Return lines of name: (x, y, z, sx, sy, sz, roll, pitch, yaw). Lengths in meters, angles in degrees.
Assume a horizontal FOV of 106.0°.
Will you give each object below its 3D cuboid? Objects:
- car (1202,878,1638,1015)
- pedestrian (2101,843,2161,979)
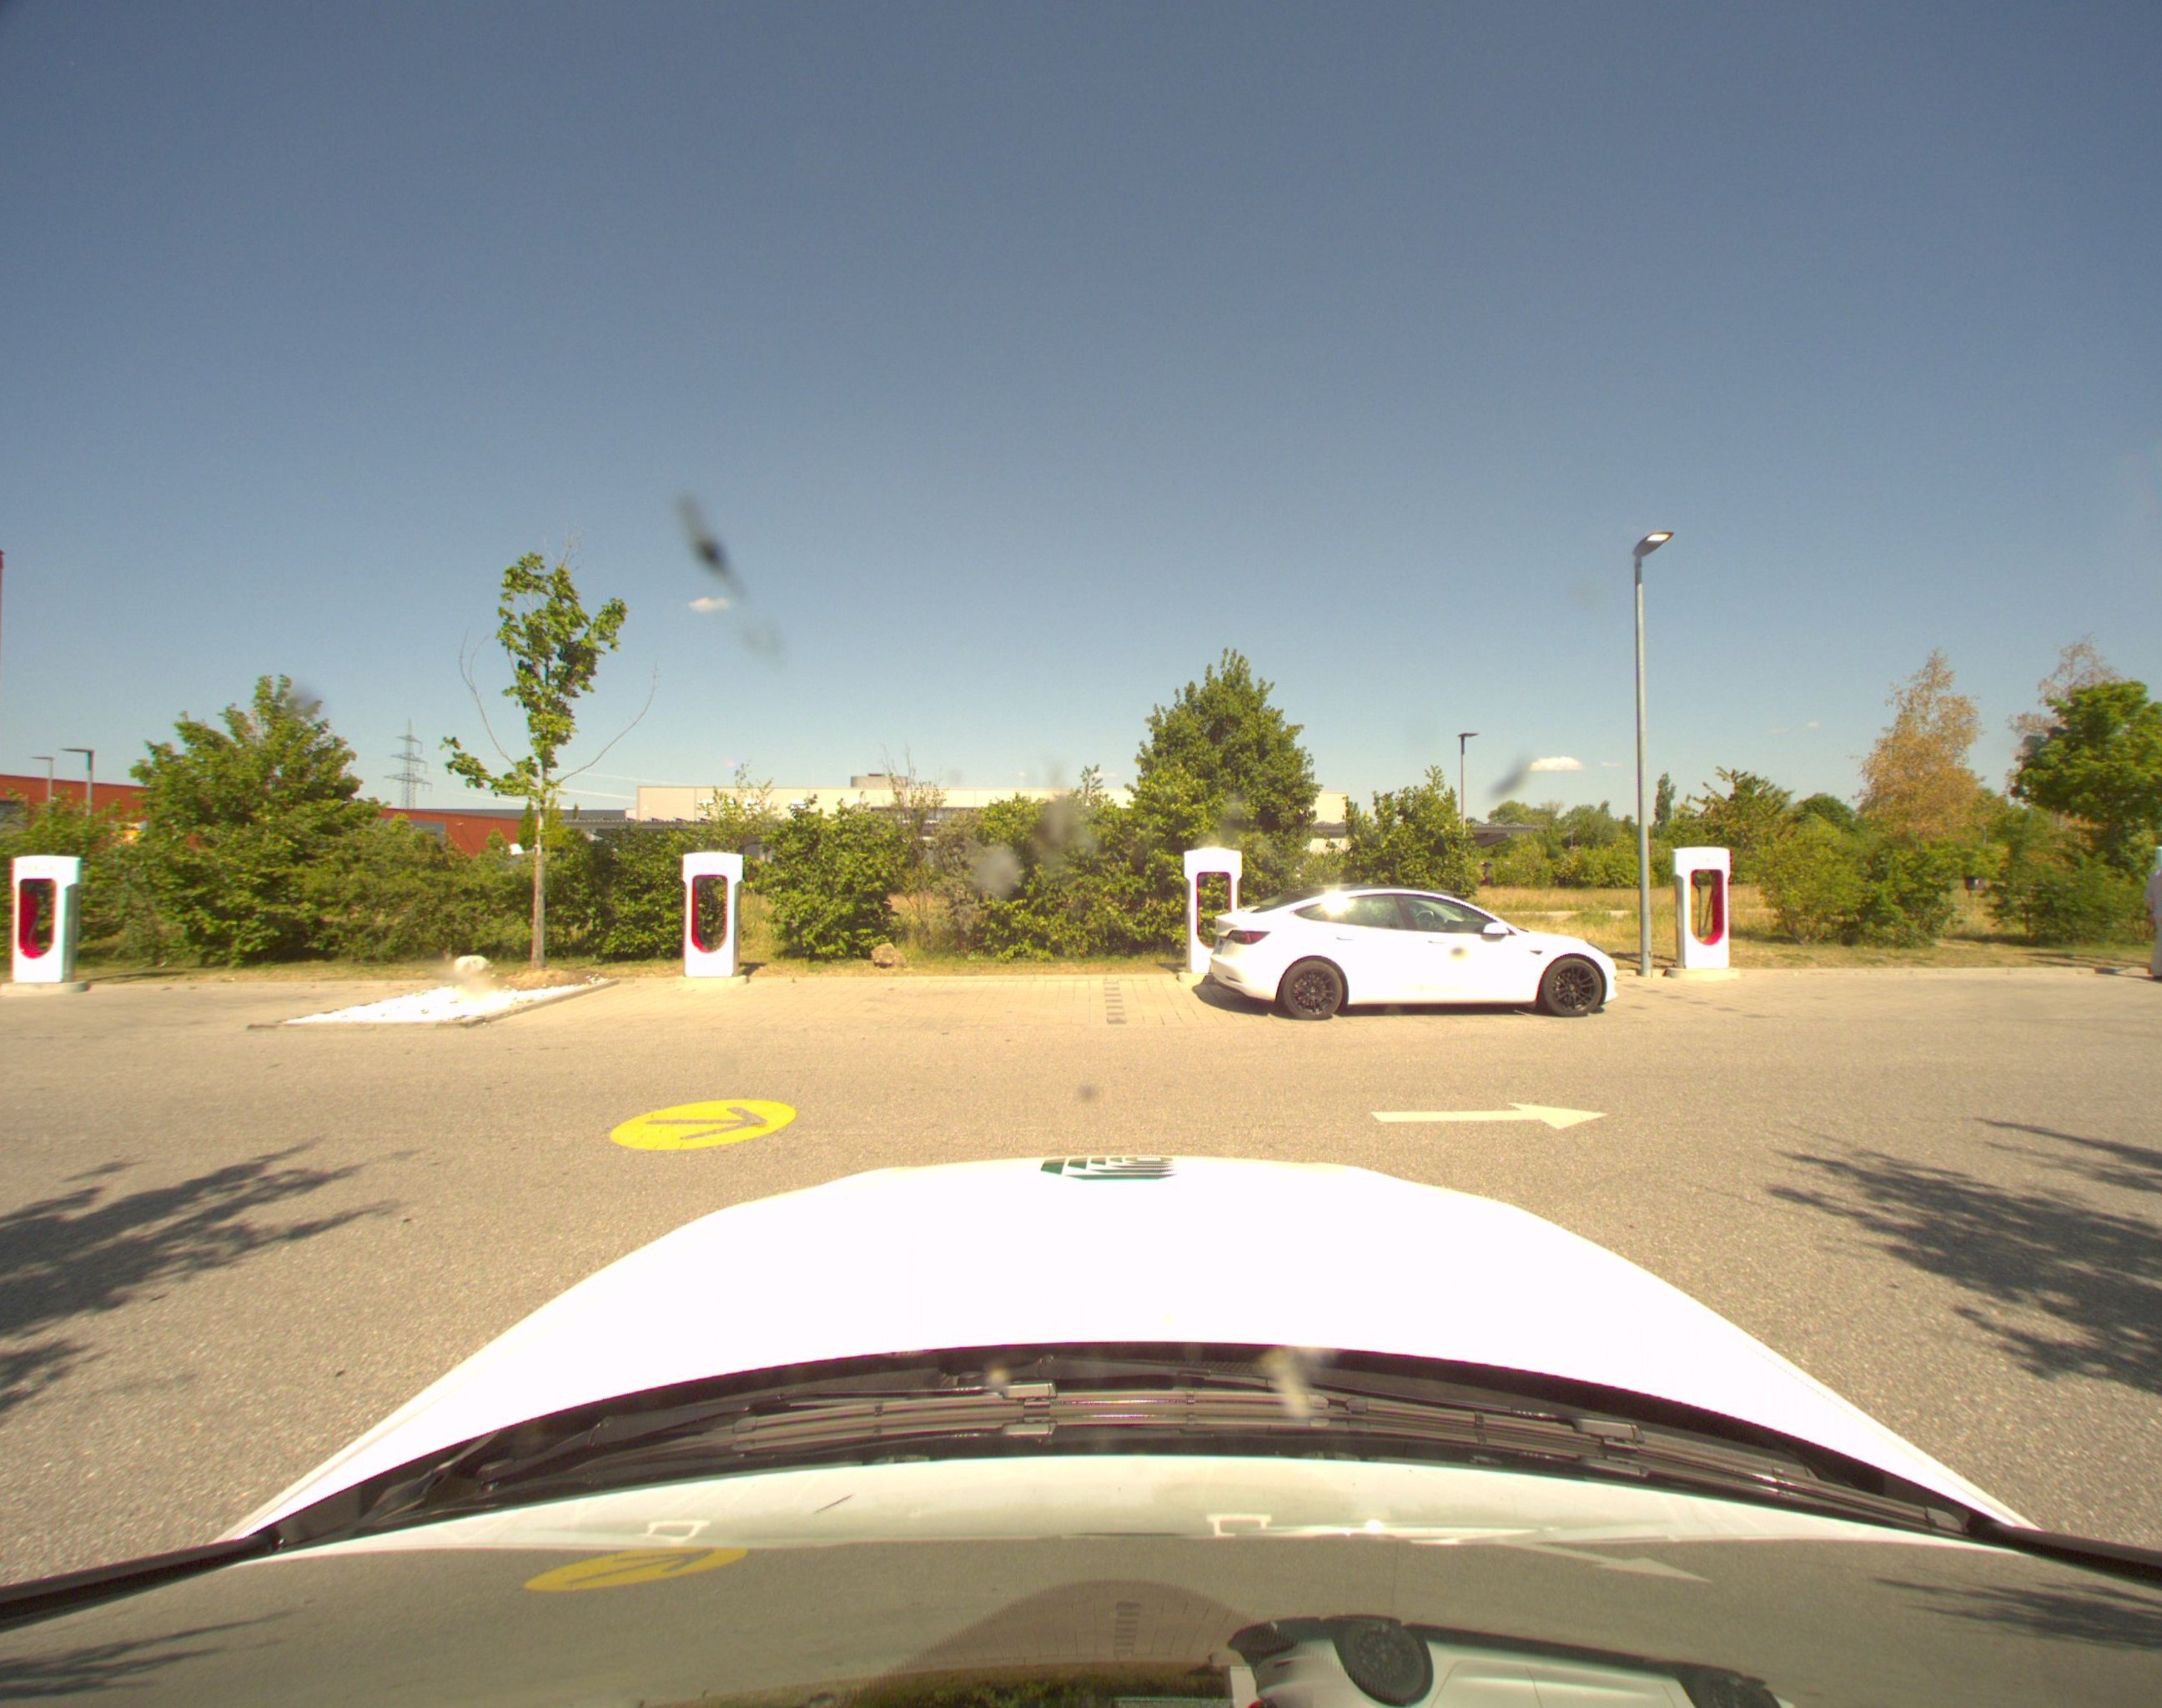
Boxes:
car: (3.792, 1.014, 9.651, 4.422, 1.377, 1.821, -1, -1, -2)
pedestrian: (14.802, 0.758, 11.037, 1.030, 1.800, 0.736, -1, -1, -4)
